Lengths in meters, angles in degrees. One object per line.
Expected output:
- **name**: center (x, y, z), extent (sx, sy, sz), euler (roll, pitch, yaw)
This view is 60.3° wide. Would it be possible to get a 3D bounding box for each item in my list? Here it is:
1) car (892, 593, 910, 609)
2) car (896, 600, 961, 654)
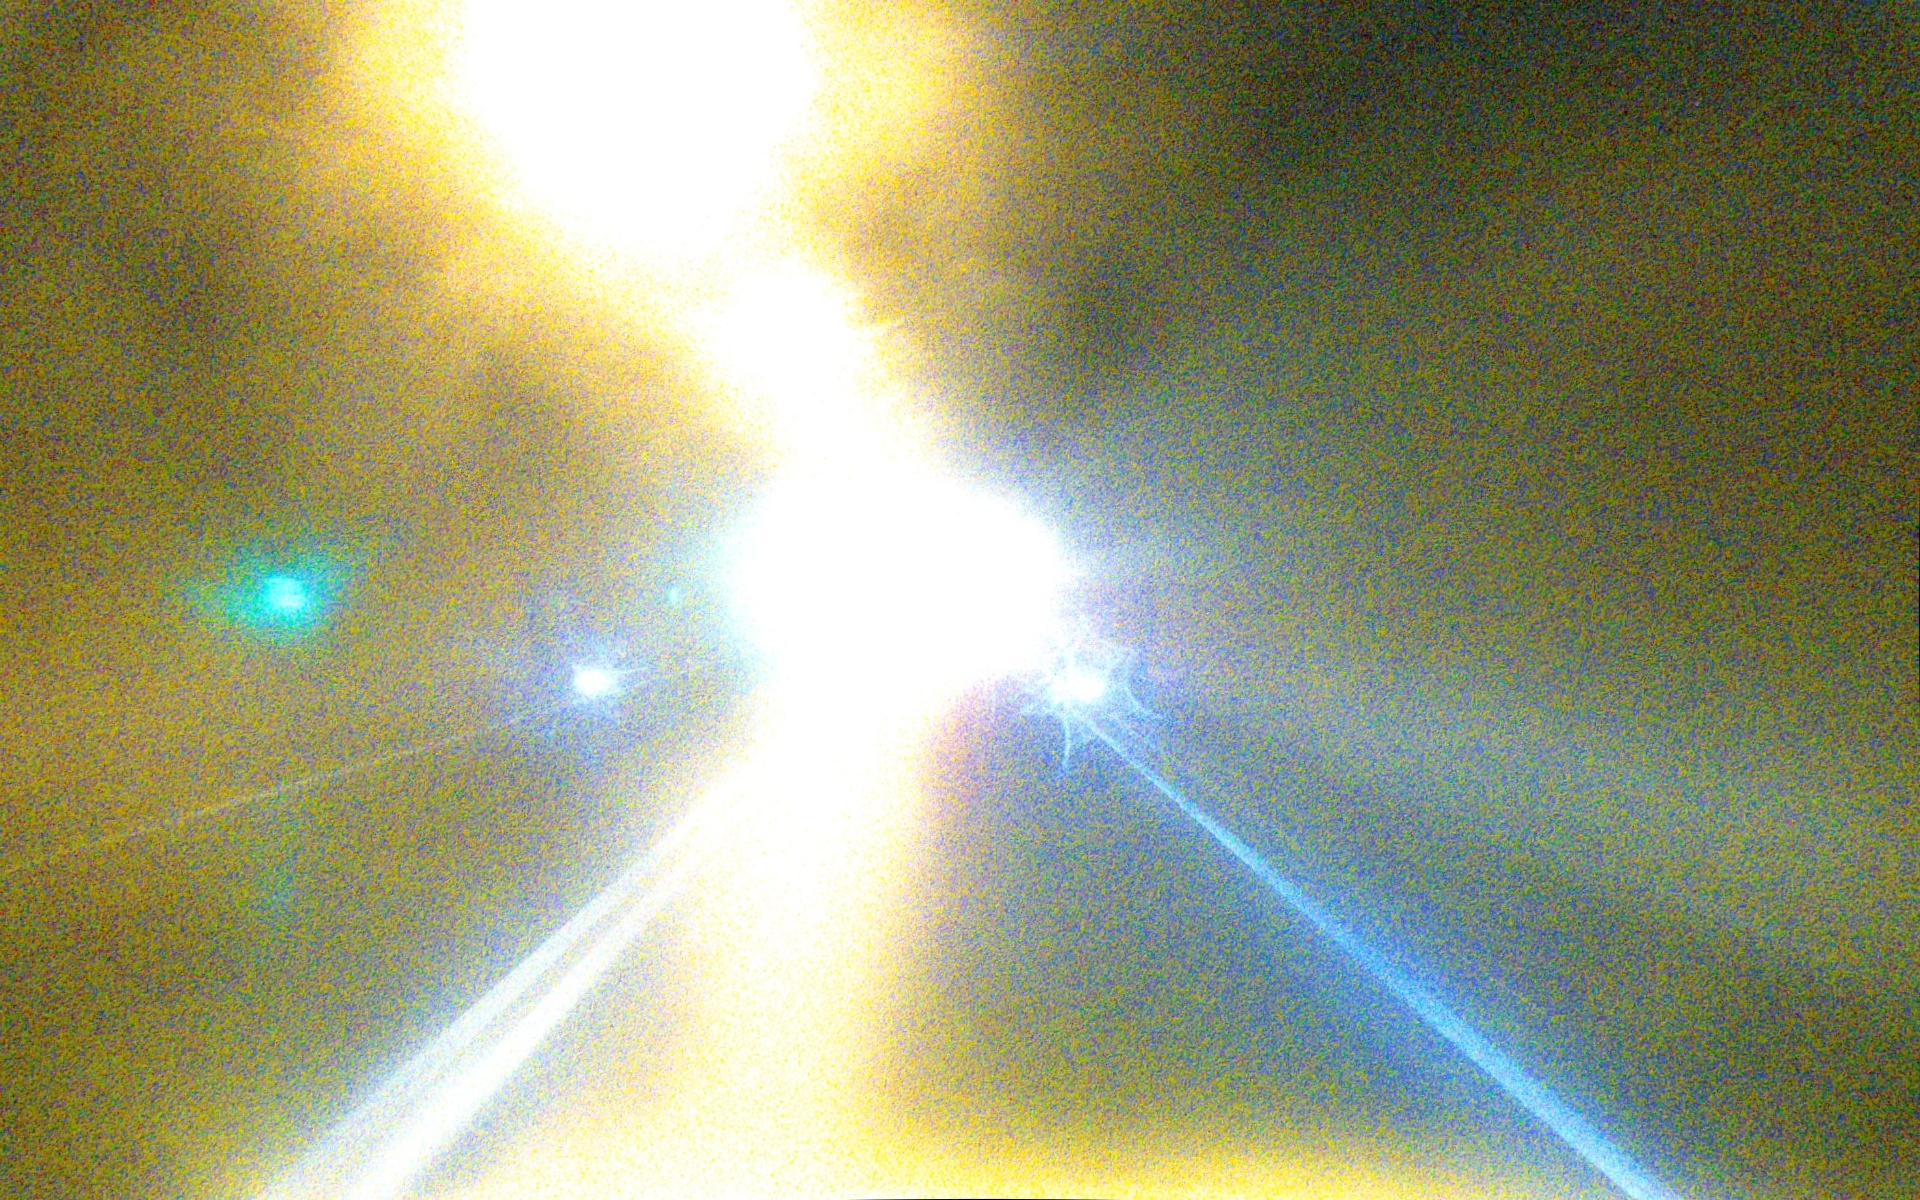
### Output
- **car**: center (-5.660, 0.092, 159.311), extent (1.656, 1.531, 3.743), euler (0, 0, -2)
- **car**: center (-1.042, 0.873, 54.604), extent (2.047, 1.691, 3.999), euler (0, 0, -2)
